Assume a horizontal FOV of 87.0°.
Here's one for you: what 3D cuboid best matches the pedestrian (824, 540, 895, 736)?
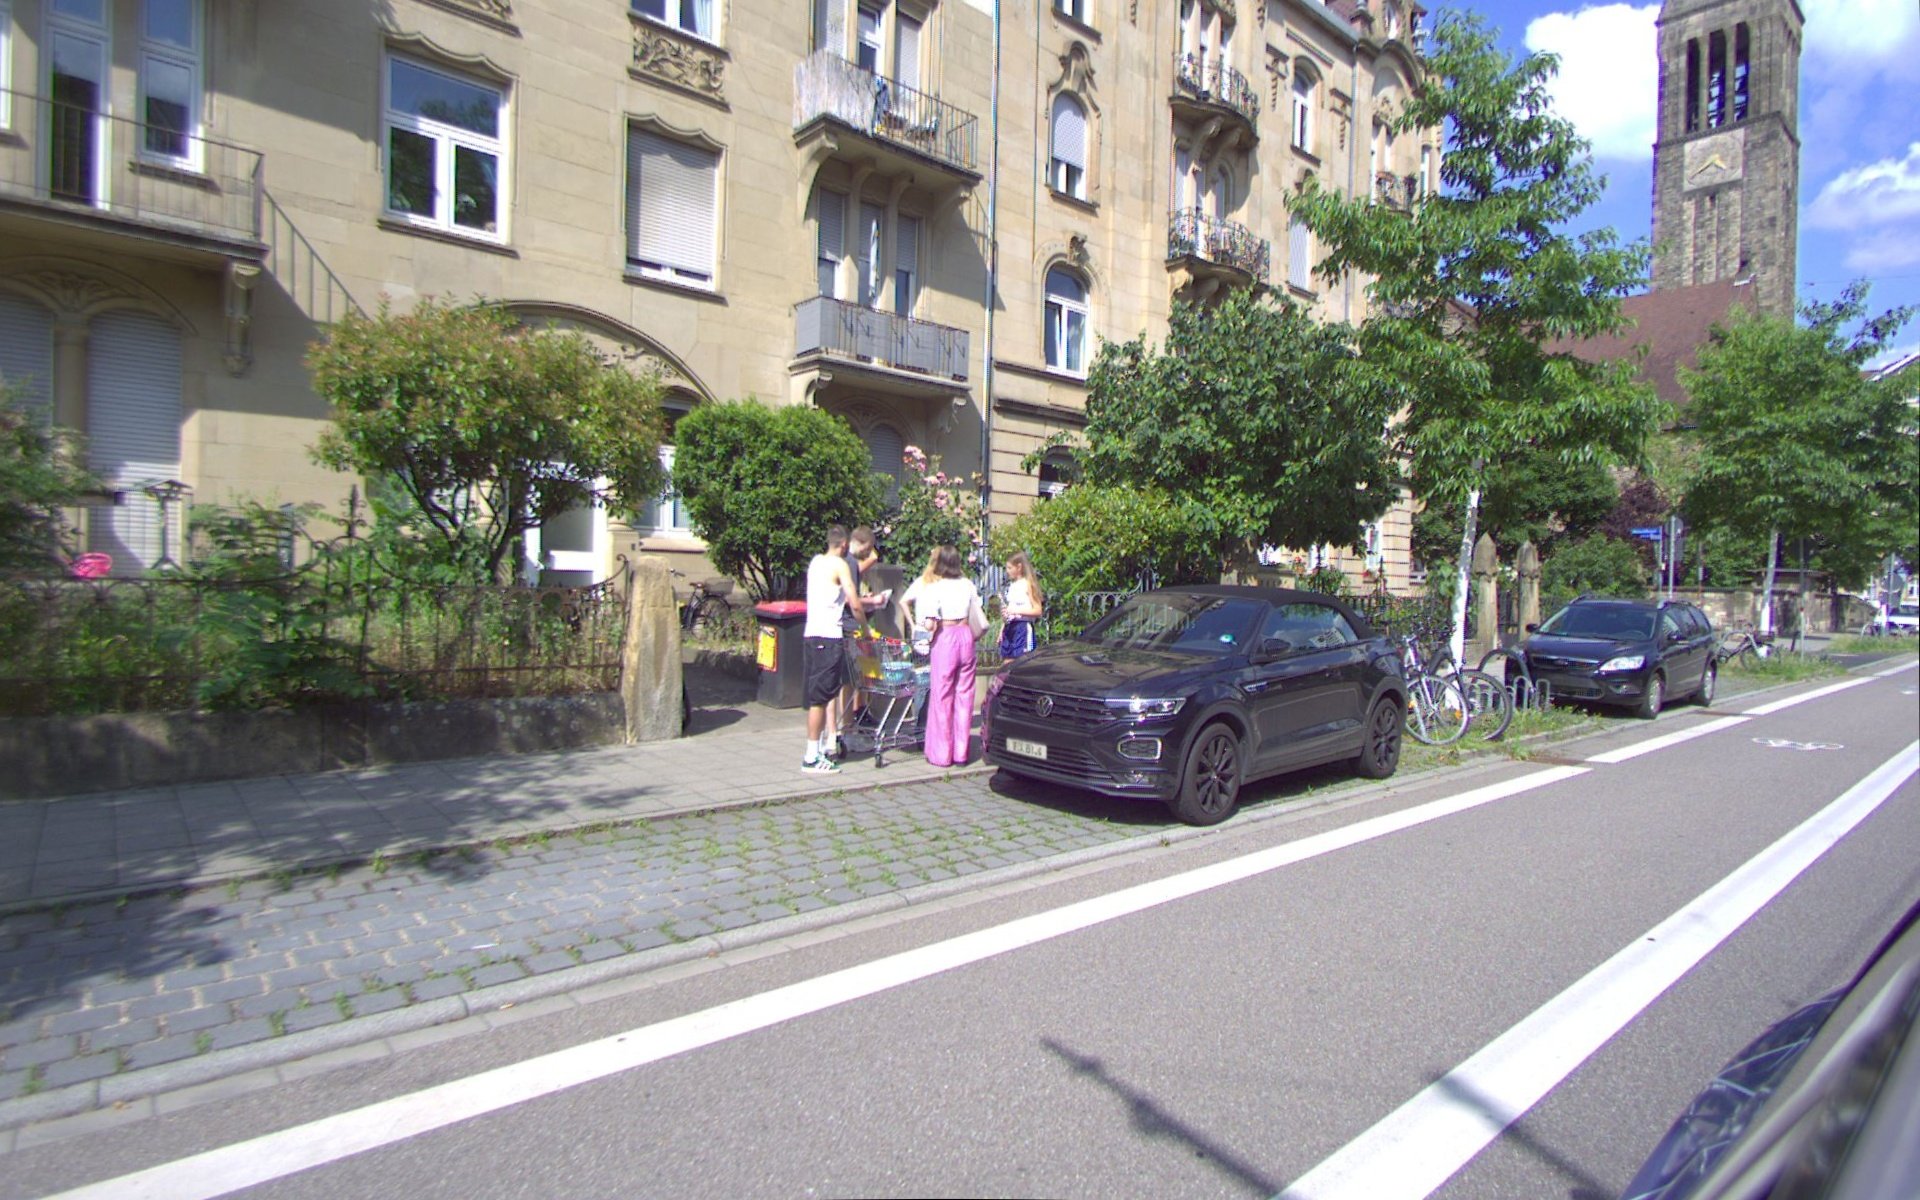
[{"bbox_3d":[-0.921,0.333,9.264,0.423,1.727,0.385,1,3,-41],"label":"pedestrian"}]

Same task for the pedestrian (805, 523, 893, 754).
[{"bbox_3d":[-0.922,0.287,8.359,0.314,1.826,0.670,1,3,-42],"label":"pedestrian"}]

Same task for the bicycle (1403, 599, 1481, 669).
[{"bbox_3d":[8.592,0.578,17.988,1.988,1.153,0.428,0,4,-41],"label":"bicycle"}]

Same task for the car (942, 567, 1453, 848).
[{"bbox_3d":[2.095,0.599,7.964,4.415,1.545,1.800,0,3,-45],"label":"car"}]

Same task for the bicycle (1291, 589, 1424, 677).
[{"bbox_3d":[6.418,0.491,16.215,2.891,1.263,0.659,0,4,-41],"label":"bicycle"}]

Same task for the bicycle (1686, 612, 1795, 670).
[{"bbox_3d":[15.926,0.808,20.675,1.706,1.083,0.464,2,1,44],"label":"bicycle"}]

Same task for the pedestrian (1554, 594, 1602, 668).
[{"bbox_3d":[14.064,0.685,23.022,0.712,1.649,0.724,0,1,-41],"label":"pedestrian"}]

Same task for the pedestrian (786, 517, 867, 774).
[{"bbox_3d":[-0.990,0.314,7.455,0.314,1.826,0.460,1,3,-42],"label":"pedestrian"}]

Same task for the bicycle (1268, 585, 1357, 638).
[{"bbox_3d":[8.236,0.251,23.705,1.890,1.082,0.464,6,4,44],"label":"bicycle"}]

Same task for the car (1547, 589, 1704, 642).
[{"bbox_3d":[23.008,0.484,35.102,1.727,1.574,4.258,-3,3,-42],"label":"car"}]

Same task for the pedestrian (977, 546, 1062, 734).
[{"bbox_3d":[0.566,0.355,9.611,0.526,1.696,0.568,4,2,31],"label":"pedestrian"}]

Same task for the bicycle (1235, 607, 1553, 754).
[{"bbox_3d":[4.433,0.749,10.554,2.939,1.262,0.782,2,1,37],"label":"bicycle"}]

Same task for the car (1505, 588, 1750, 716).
[{"bbox_3d":[9.576,0.624,14.359,4.625,1.521,1.689,0,1,-40],"label":"car"}]

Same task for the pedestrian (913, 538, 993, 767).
[{"bbox_3d":[-0.058,0.395,7.875,0.451,1.727,0.320,2,2,-27],"label":"pedestrian"}]

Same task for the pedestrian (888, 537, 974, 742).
[{"bbox_3d":[-0.255,0.330,8.944,0.499,1.727,0.491,4,2,31],"label":"pedestrian"}]

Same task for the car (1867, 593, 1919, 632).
[{"bbox_3d":[36.026,0.474,38.234,3.768,1.434,1.674,1,-1,-33],"label":"car"}]

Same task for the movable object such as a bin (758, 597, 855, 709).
[{"bbox_3d":[-1.600,0.527,10.543,0.761,1.070,0.609,0,3,-40],"label":"movable object such as a bin"}]
